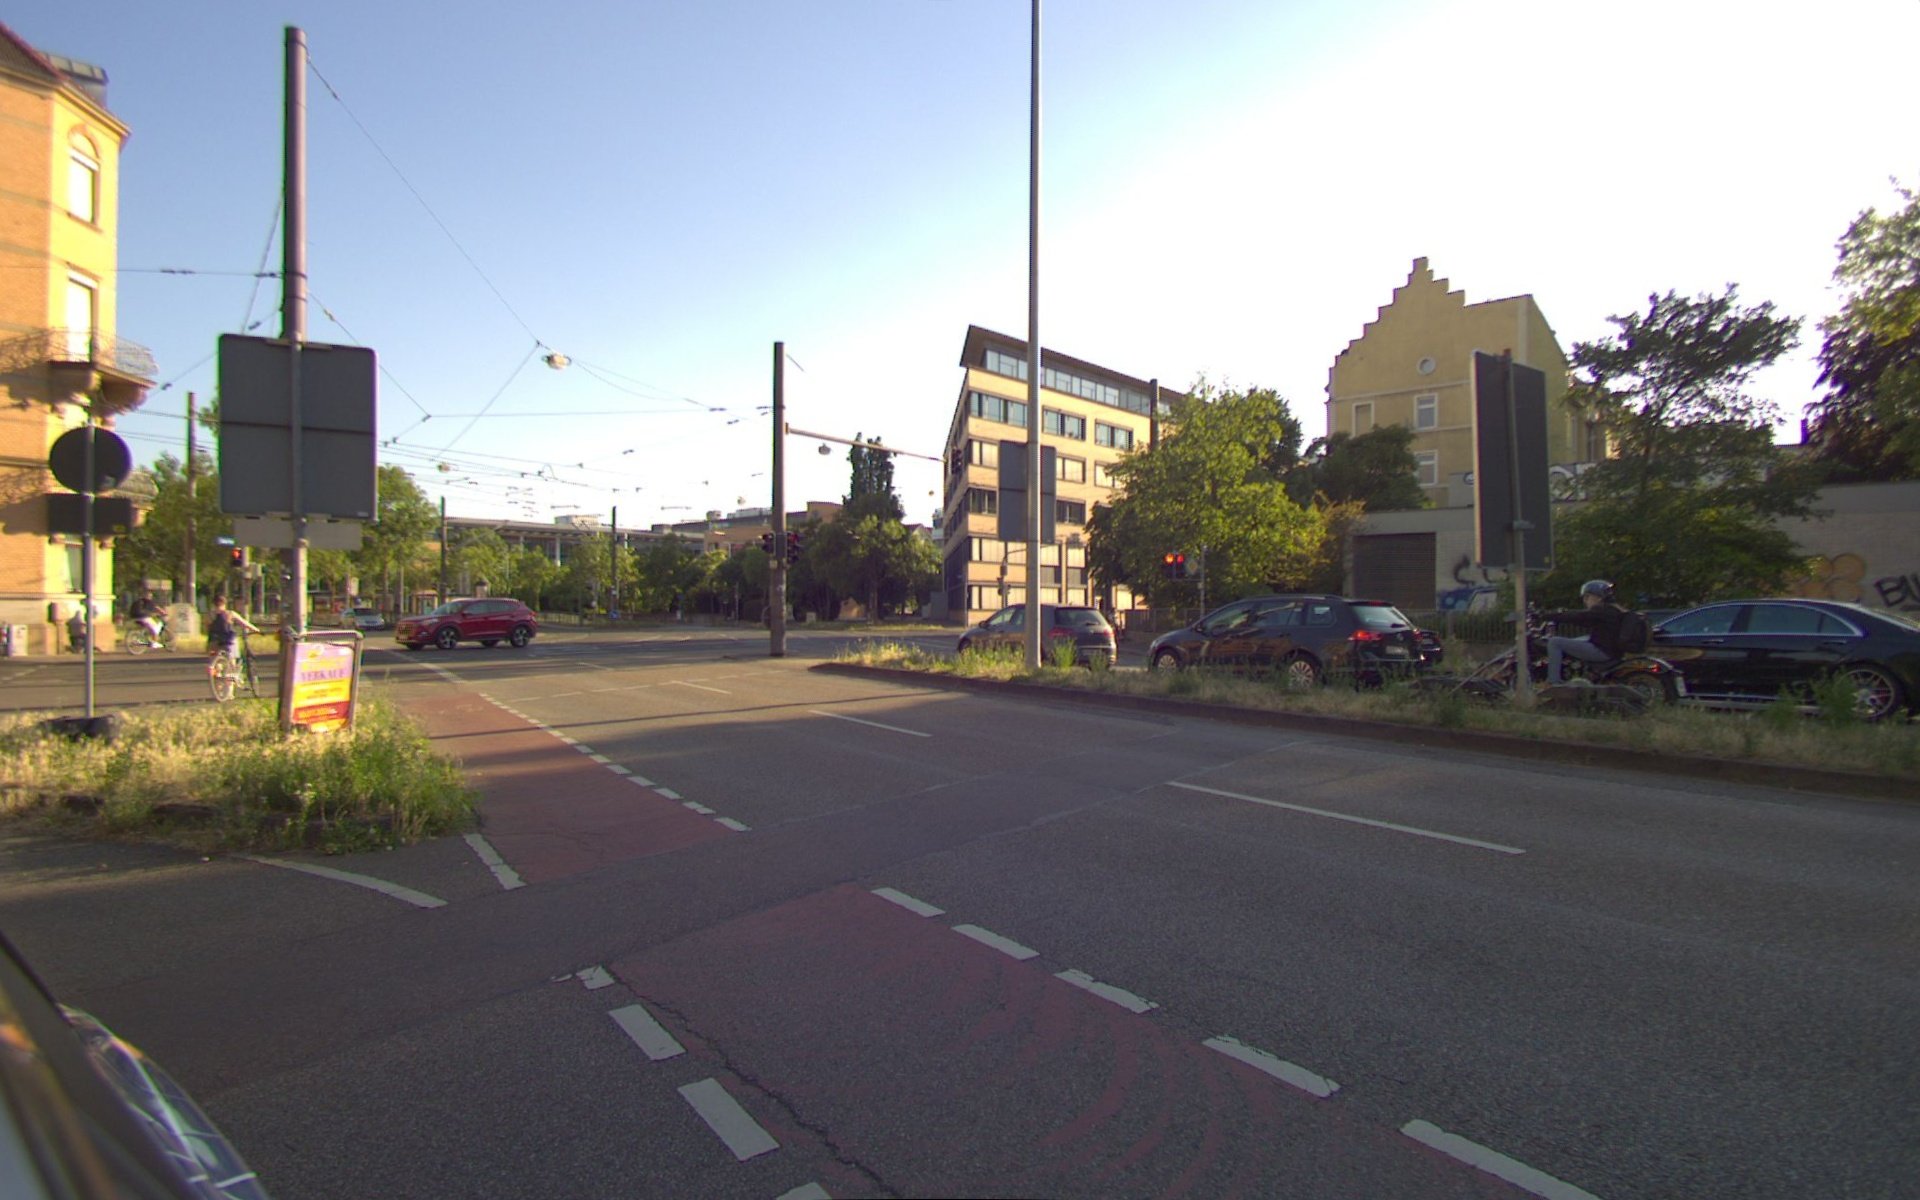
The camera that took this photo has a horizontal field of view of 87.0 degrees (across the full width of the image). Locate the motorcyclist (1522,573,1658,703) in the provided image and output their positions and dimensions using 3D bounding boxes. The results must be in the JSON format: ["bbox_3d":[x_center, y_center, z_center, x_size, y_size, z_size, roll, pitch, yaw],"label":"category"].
[{"bbox_3d":[7.232,0.416,11.646,0.840,1.408,1.064,1,-1,-33],"label":"motorcyclist"}]

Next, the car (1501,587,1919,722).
[{"bbox_3d":[10.327,0.640,13.339,1.968,1.507,5.302,1,-1,-39],"label":"car"}]

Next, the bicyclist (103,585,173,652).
[{"bbox_3d":[-23.442,0.533,28.890,1.054,1.856,1.306,0,-1,-12],"label":"bicyclist"}]

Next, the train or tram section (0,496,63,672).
[{"bbox_3d":[-22.819,-0.372,17.074,2.860,3.534,11.175,-1,-1,32],"label":"train or tram section"}]

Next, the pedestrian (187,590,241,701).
[{"bbox_3d":[-11.224,0.678,15.234,0.481,1.644,0.527,0,-1,-14],"label":"pedestrian"}]

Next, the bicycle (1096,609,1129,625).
[{"bbox_3d":[11.487,1.288,76.130,2.785,1.144,1.013,1,0,-44],"label":"bicycle"}]

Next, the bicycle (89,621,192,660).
[{"bbox_3d":[-23.510,1.127,29.132,1.054,1.032,2.982,0,-1,-12],"label":"bicycle"}]

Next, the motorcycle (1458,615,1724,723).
[{"bbox_3d":[7.186,0.729,11.691,0.847,1.116,2.477,1,-1,-33],"label":"motorcycle"}]

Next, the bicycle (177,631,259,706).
[{"bbox_3d":[-11.147,0.997,15.253,0.393,1.037,1.676,0,-1,-14],"label":"bicycle"}]

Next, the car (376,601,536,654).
[{"bbox_3d":[-16.345,0.865,33.069,1.815,1.627,4.418,-1,-1,31],"label":"car"}]

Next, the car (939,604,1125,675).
[{"bbox_3d":[1.371,0.768,21.055,1.695,1.306,4.261,1,-1,-31],"label":"car"}]

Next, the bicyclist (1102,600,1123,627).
[{"bbox_3d":[11.468,0.993,76.106,1.232,2.029,0.995,1,-1,-44],"label":"bicyclist"}]

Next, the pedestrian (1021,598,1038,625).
[{"bbox_3d":[5.248,0.904,76.619,0.930,2.029,0.975,-1,-1,43],"label":"pedestrian"}]

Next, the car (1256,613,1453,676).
[{"bbox_3d":[8.852,0.945,22.997,1.696,1.306,3.904,1,-1,-35],"label":"car"}]

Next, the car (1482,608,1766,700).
[{"bbox_3d":[12.060,0.905,18.589,1.830,1.475,4.007,0,-1,-39],"label":"car"}]

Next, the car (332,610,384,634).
[{"bbox_3d":[-39.881,1.442,67.004,4.001,1.586,1.971,-1,-1,44],"label":"car"}]

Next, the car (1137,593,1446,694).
[{"bbox_3d":[4.824,0.598,15.379,1.695,1.306,4.389,1,-1,-33],"label":"car"}]
